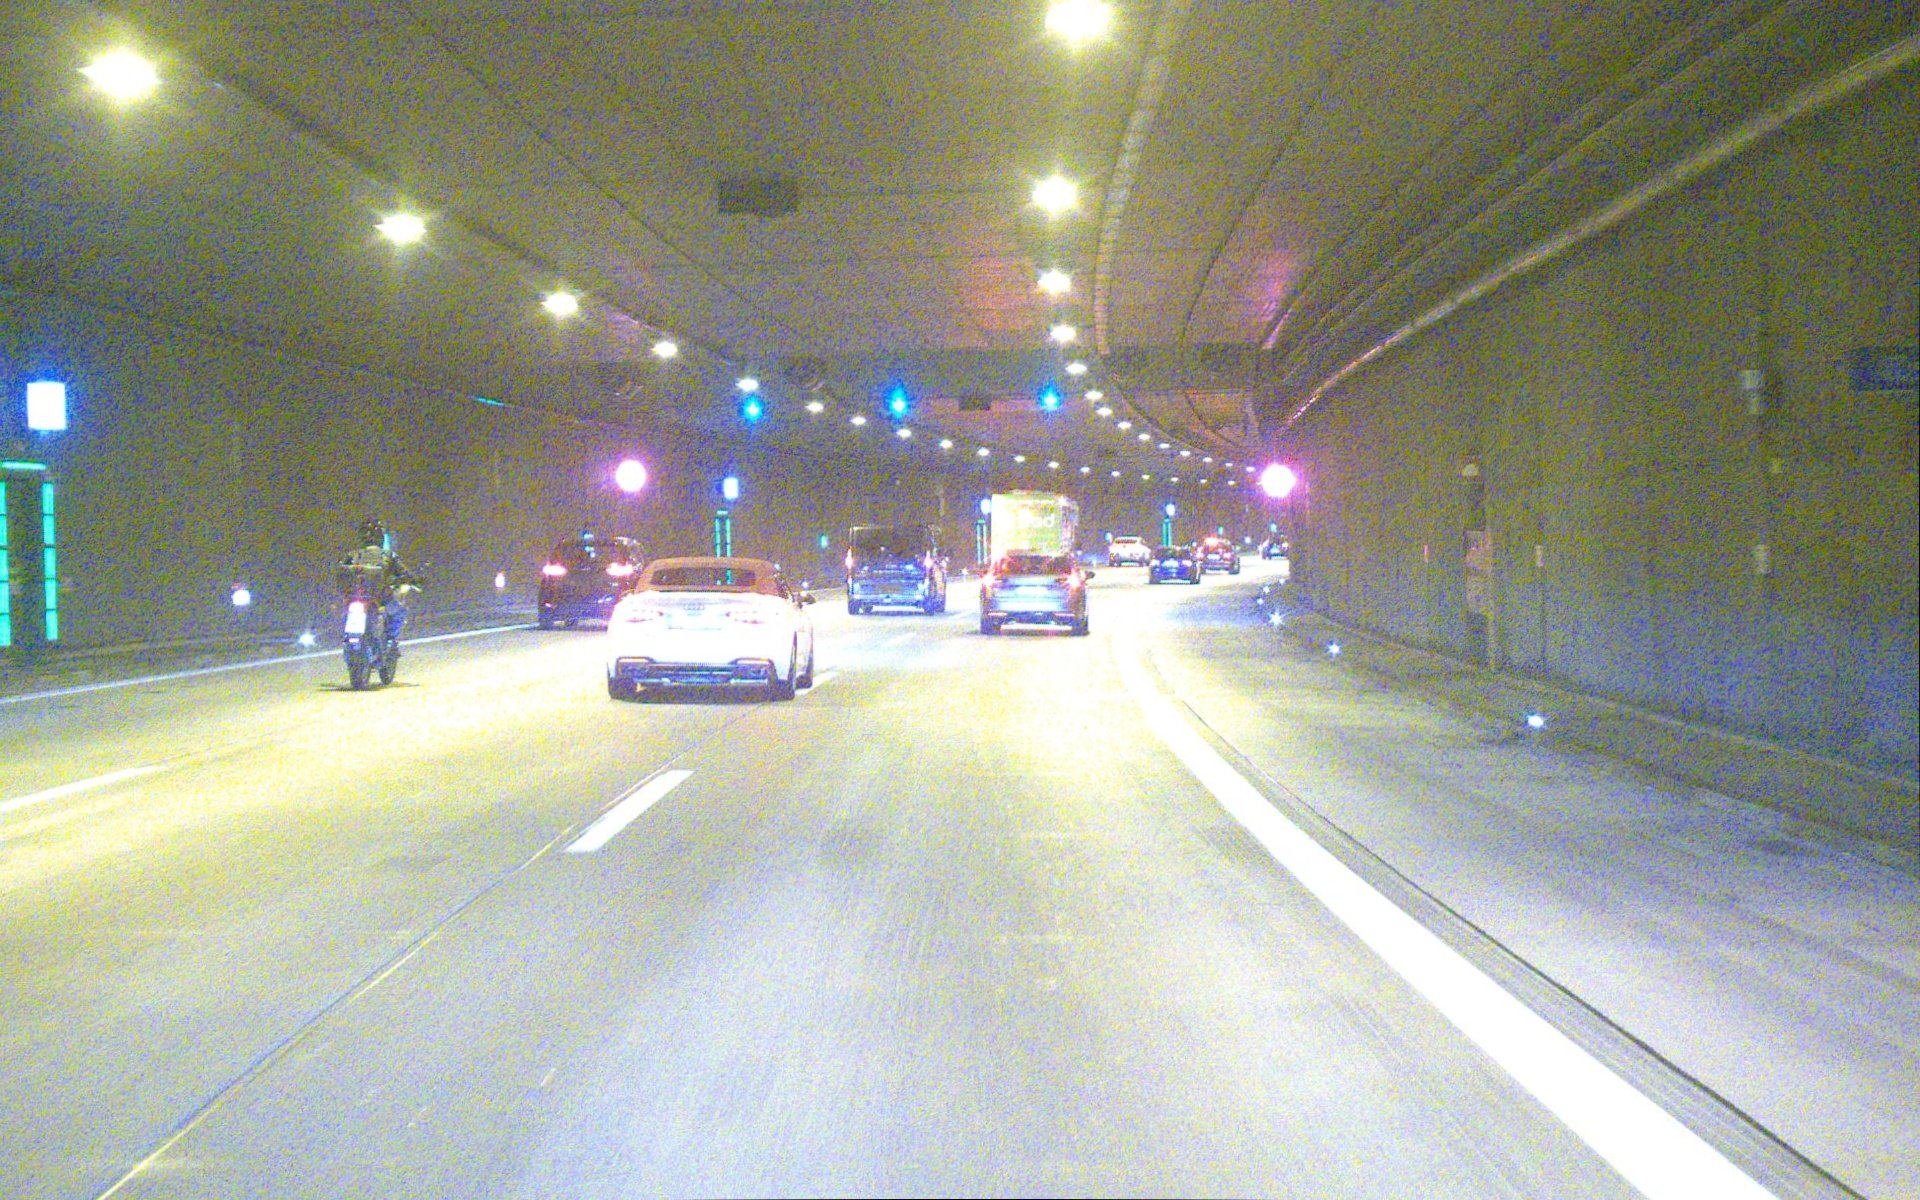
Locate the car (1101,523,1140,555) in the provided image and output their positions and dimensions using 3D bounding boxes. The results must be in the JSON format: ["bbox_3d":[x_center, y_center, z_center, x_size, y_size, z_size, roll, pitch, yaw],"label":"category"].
[{"bbox_3d":[8.461,-3.213,180.968,1.831,1.612,3.999,-2,1,6],"label":"car"}]

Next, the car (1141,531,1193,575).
[{"bbox_3d":[7.726,-1.780,128.486,1.844,1.562,4.000,-2,1,3],"label":"car"}]

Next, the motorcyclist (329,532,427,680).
[{"bbox_3d":[-5.950,0.054,35.175,0.839,1.472,0.821,0,2,2],"label":"motorcyclist"}]

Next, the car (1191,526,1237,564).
[{"bbox_3d":[11.572,-2.519,156.646,1.859,1.660,3.999,-2,1,7],"label":"car"}]

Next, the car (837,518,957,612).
[{"bbox_3d":[-1.326,-0.781,74.050,1.994,1.965,3.999,0,1,8],"label":"car"}]

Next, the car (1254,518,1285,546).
[{"bbox_3d":[19.096,-4.196,212.077,1.834,1.685,3.999,-2,1,5],"label":"car"}]

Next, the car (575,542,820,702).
[{"bbox_3d":[-2.561,0.175,34.451,1.993,1.478,4.000,-1,1,2],"label":"car"}]

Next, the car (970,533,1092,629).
[{"bbox_3d":[1.264,-0.355,59.705,1.840,1.596,3.999,0,1,5],"label":"car"}]

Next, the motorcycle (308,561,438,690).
[{"bbox_3d":[-5.917,0.233,34.795,0.845,1.241,2.604,0,1,1],"label":"motorcycle"}]

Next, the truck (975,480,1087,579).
[{"bbox_3d":[2.548,-2.513,118.955,3.083,3.102,10.028,-3,2,5],"label":"truck"}]

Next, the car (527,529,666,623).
[{"bbox_3d":[-6.300,-0.437,59.950,1.785,1.593,3.801,0,1,4],"label":"car"}]
